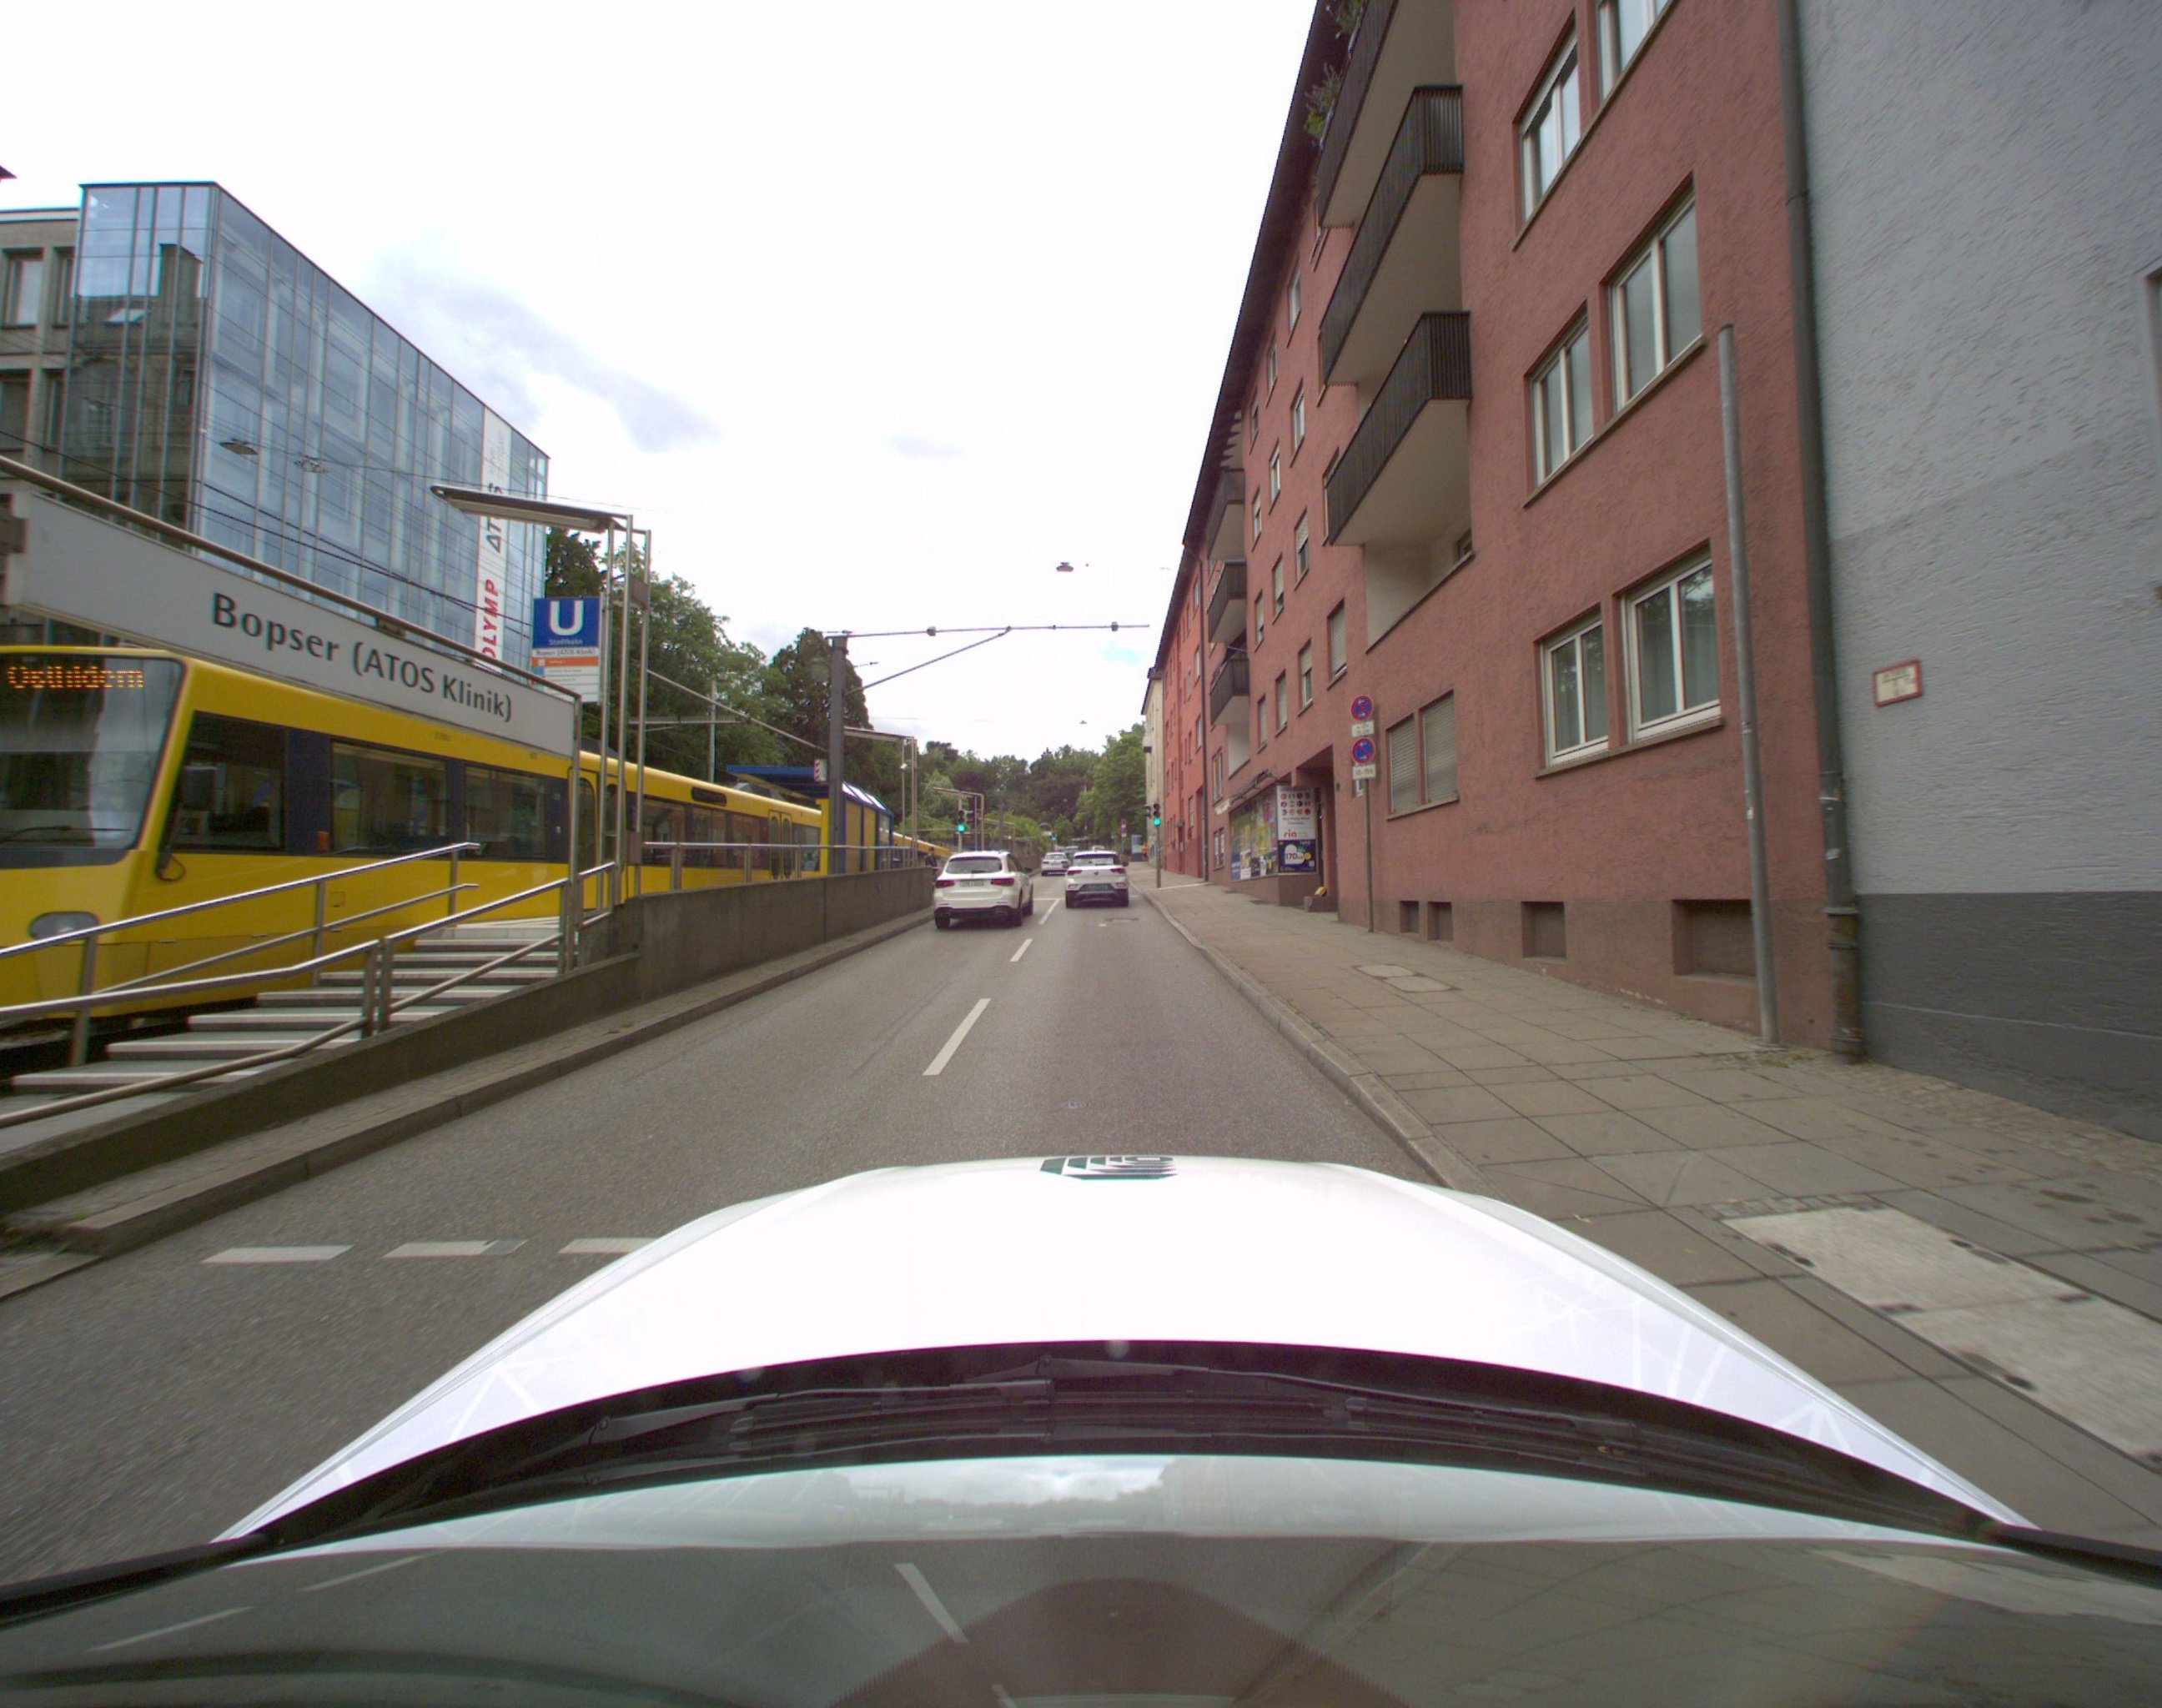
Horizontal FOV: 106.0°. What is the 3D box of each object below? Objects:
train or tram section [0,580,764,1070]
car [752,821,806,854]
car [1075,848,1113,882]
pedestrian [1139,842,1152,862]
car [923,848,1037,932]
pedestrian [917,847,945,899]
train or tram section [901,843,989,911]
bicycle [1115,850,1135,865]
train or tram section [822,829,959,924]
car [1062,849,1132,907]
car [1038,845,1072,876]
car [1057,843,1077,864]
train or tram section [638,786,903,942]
[{"bbox_3d":[-8.747,0.033,12.089,2.938,3.544,12.399,-1,-2,1],"label":"train or tram section"},{"bbox_3d":[-19.644,-1.044,53.121,1.988,2.014,3.998,1,-1,-1],"label":"car"},{"bbox_3d":[0.687,0.547,41.690,1.854,1.632,3.960,-1,0,1],"label":"car"},{"bbox_3d":[5.746,-0.180,72.493,0.834,1.712,0.818,-2,0,-13],"label":"pedestrian"},{"bbox_3d":[-2.183,0.733,18.886,1.869,1.652,4.344,-2,0,2],"label":"car"},{"bbox_3d":[-5.169,0.642,28.115,0.797,1.777,0.818,0,0,1],"label":"pedestrian"},{"bbox_3d":[-7.878,1.358,49.255,2.939,3.509,12.985,-1,-1,1],"label":"train or tram section"},{"bbox_3d":[3.522,0.306,65.451,0.642,1.143,2.049,-7,2,-24],"label":"bicycle"},{"bbox_3d":[-8.062,1.059,36.624,2.938,3.484,12.220,-1,-2,1],"label":"train or tram section"},{"bbox_3d":[0.501,0.636,23.711,1.857,1.556,3.897,0,0,2],"label":"car"},{"bbox_3d":[-1.646,0.392,52.332,1.987,1.881,4.001,0,0,1],"label":"car"},{"bbox_3d":[-1.341,-0.044,77.307,1.743,1.881,4.001,0,0,1],"label":"car"},{"bbox_3d":[-8.327,0.559,24.449,2.938,3.472,12.218,-1,-3,1],"label":"train or tram section"}]
